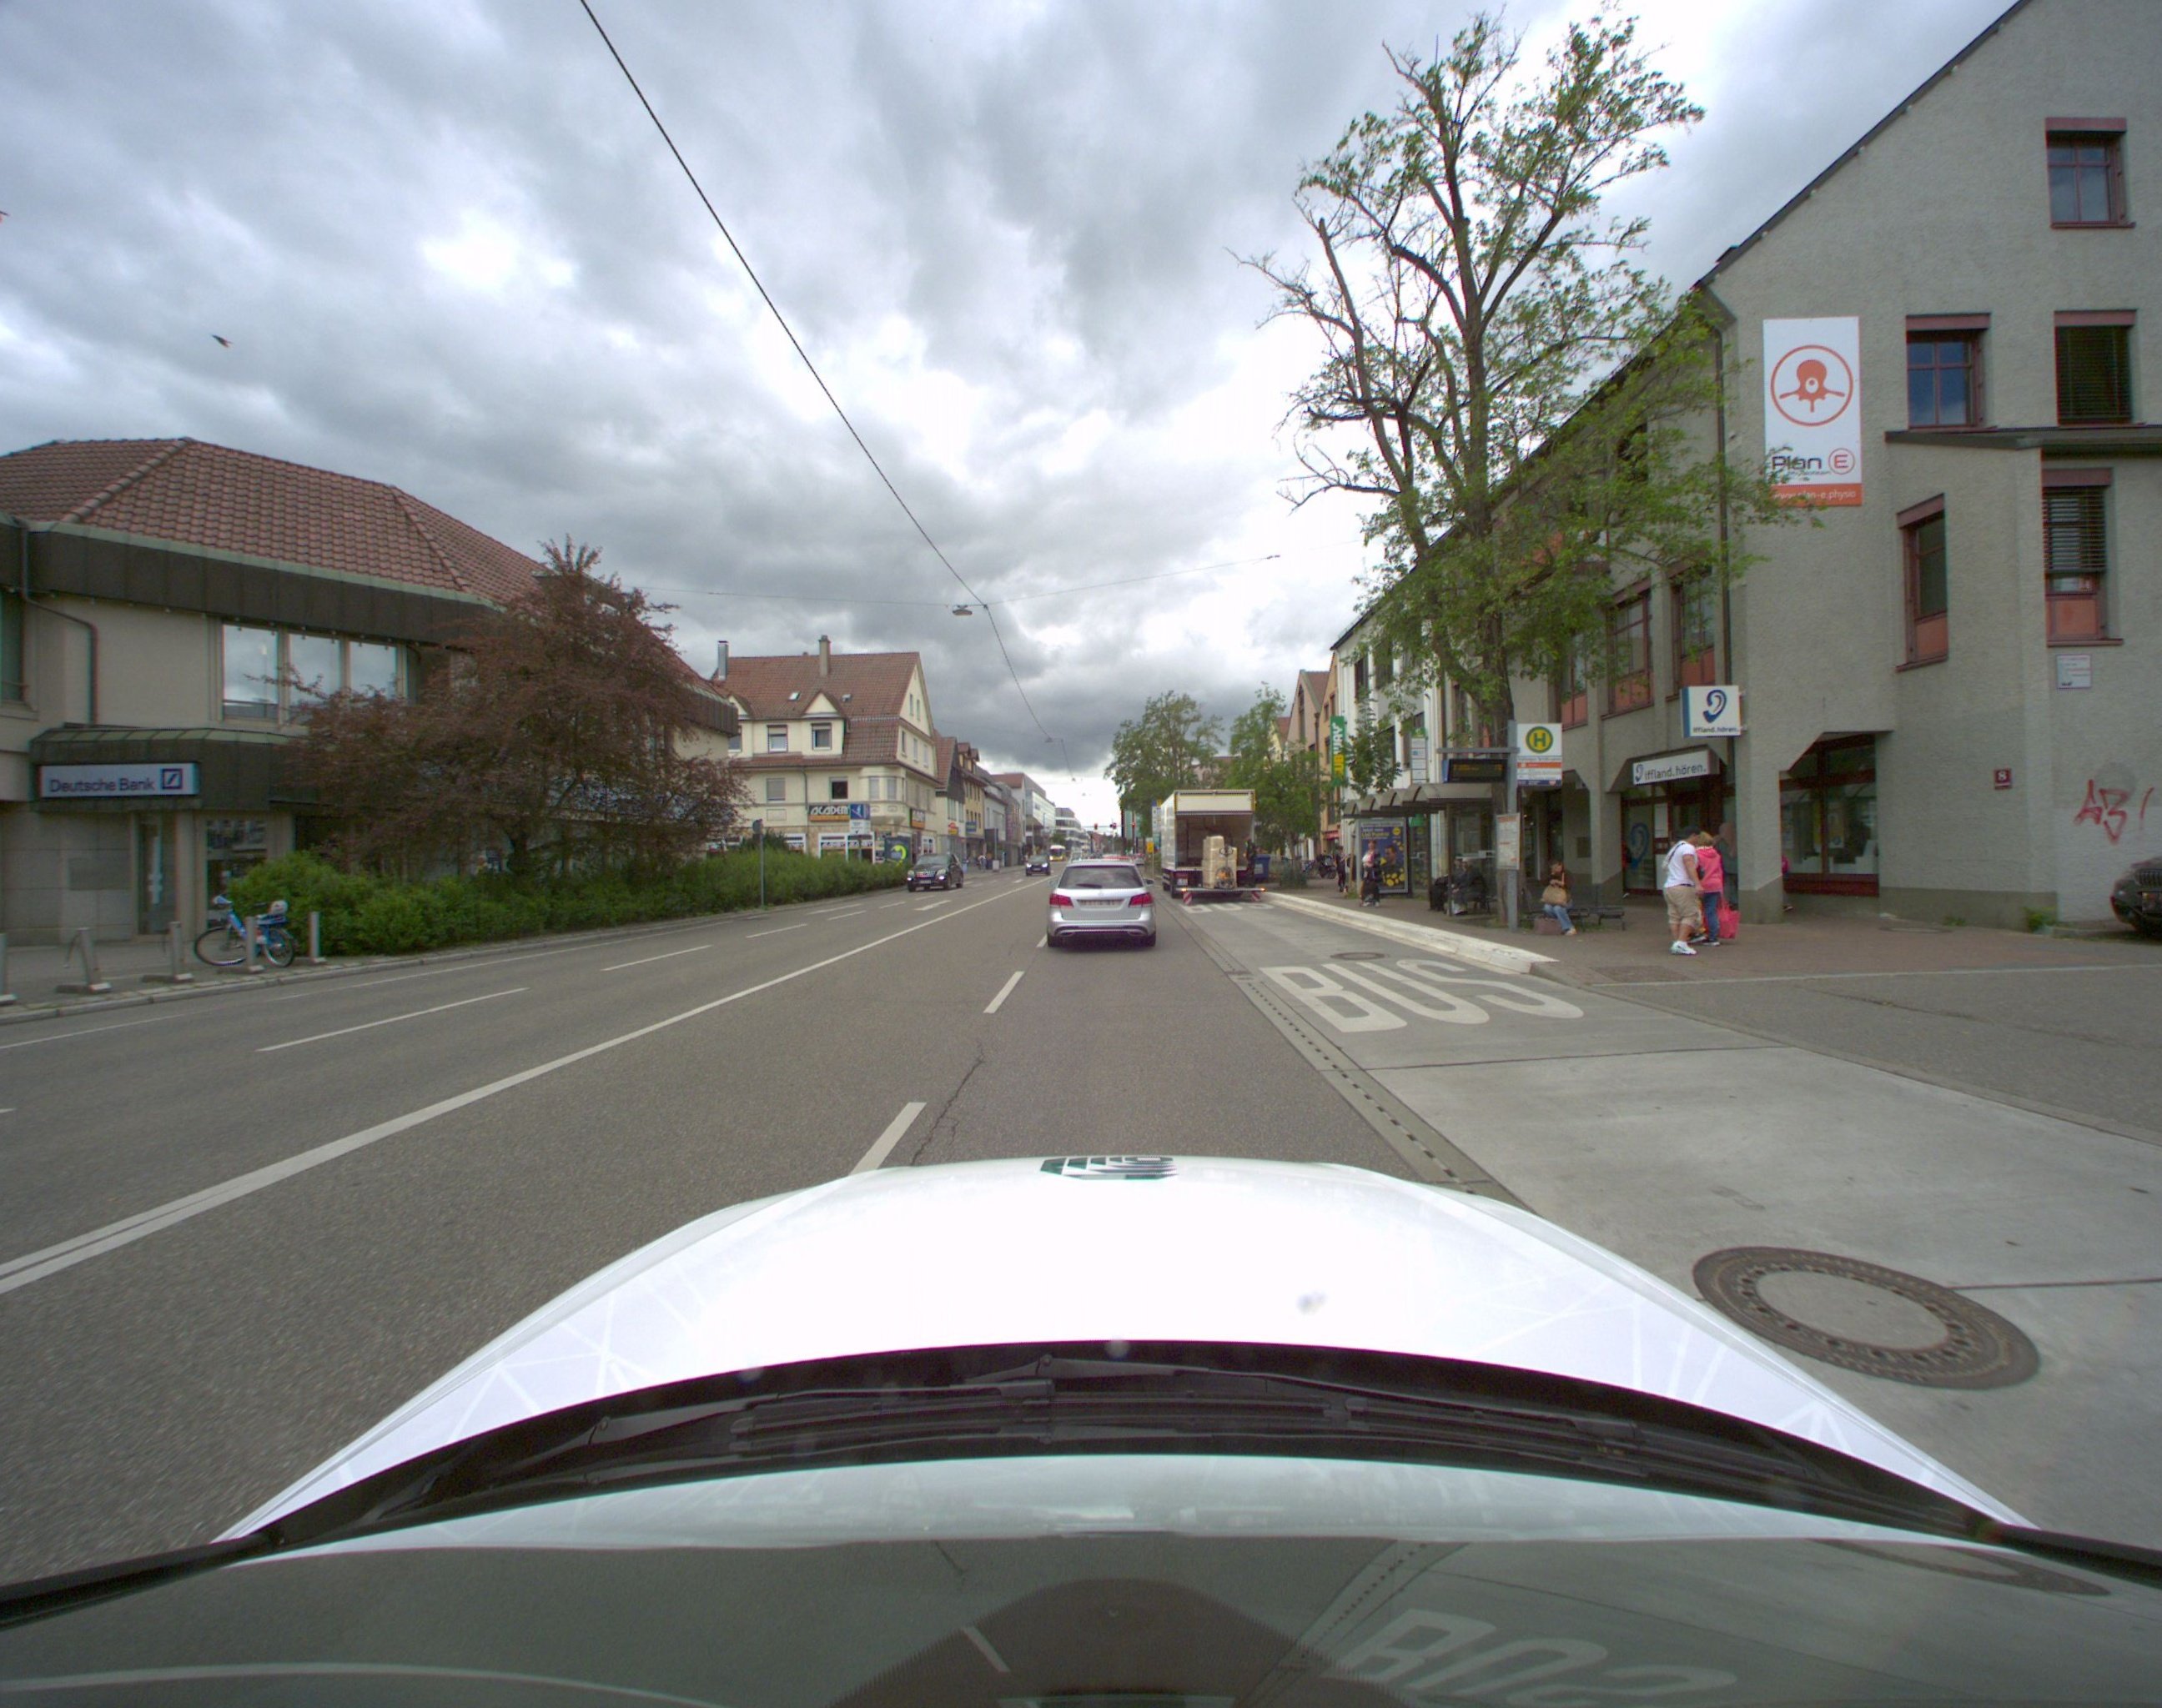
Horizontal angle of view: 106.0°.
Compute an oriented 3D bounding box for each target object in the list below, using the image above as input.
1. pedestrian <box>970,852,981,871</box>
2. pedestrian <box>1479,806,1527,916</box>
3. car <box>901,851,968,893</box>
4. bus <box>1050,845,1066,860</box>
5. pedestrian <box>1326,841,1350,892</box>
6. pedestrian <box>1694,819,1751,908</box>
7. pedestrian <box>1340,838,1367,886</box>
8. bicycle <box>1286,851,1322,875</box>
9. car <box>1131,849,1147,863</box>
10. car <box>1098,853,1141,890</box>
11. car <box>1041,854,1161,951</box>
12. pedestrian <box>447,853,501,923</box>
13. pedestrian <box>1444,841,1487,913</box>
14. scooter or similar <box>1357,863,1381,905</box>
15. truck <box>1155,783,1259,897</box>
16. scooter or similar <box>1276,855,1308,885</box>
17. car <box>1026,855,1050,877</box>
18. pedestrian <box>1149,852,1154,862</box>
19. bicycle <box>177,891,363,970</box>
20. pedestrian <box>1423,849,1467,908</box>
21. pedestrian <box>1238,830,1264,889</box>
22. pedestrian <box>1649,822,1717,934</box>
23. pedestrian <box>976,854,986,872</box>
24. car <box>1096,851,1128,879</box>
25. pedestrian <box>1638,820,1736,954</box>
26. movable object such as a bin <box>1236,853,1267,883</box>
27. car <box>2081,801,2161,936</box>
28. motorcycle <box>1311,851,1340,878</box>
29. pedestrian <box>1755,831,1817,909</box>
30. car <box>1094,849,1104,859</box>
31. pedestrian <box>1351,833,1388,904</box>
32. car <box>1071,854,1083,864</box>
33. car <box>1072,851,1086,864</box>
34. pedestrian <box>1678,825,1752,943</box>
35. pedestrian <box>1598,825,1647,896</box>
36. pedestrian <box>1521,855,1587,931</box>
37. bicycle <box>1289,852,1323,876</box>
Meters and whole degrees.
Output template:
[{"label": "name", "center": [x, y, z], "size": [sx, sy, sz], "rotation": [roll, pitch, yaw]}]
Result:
[{"label": "pedestrian", "center": [-9.922, 0.685, 76.752], "size": [0.865, 1.746, 0.805], "rotation": [2, 0, -3]}, {"label": "pedestrian", "center": [8.100, 0.137, 15.656], "size": [0.608, 2.047, 0.590], "rotation": [-3, -1, 15]}, {"label": "car", "center": [-6.856, 0.791, 38.620], "size": [2.061, 1.738, 4.696], "rotation": [-3, 0, 3]}, {"label": "bus", "center": [-4.861, -0.345, 171.773], "size": [2.764, 3.165, 5.937], "rotation": [-1, 0, 3]}, {"label": "pedestrian", "center": [8.951, 0.416, 28.364], "size": [0.611, 1.740, 0.587], "rotation": [2, 0, -2]}, {"label": "pedestrian", "center": [11.970, 0.171, 15.209], "size": [0.583, 1.634, 0.615], "rotation": [-1, 0, 3]}, {"label": "pedestrian", "center": [9.182, 0.268, 27.475], "size": [0.618, 1.611, 0.581], "rotation": [0, -2, -43]}, {"label": "bicycle", "center": [12.678, 0.522, 46.343], "size": [1.811, 1.326, 0.843], "rotation": [-1, 0, -2]}, {"label": "car", "center": [7.320, 0.273, 102.903], "size": [1.985, 1.684, 4.003], "rotation": [-1, 0, 2]}, {"label": "car", "center": [1.686, 0.739, 35.964], "size": [1.747, 1.521, 4.002], "rotation": [-1, -1, 2]}, {"label": "car", "center": [0.336, 0.766, 14.770], "size": [1.868, 1.506, 4.000], "rotation": [-1, 0, 0]}, {"label": "pedestrian", "center": [-15.821, 0.865, 21.243], "size": [0.722, 1.764, 0.757], "rotation": [3, 0, 6]}, {"label": "pedestrian", "center": [7.794, 0.464, 16.528], "size": [0.608, 1.401, 0.590], "rotation": [-3, -1, 15]}, {"label": "scooter or similar", "center": [6.642, 0.684, 18.781], "size": [0.387, 0.959, 0.351], "rotation": [-1, 0, -39]}, {"label": "truck", "center": [4.401, -0.452, 30.498], "size": [2.678, 3.561, 9.771], "rotation": [-1, 0, 2]}, {"label": "scooter or similar", "center": [8.686, 0.652, 33.478], "size": [1.174, 1.196, 0.459], "rotation": [-1, 0, -7]}, {"label": "car", "center": [-3.124, 0.894, 59.749], "size": [1.565, 1.540, 2.960], "rotation": [-1, 0, 0]}, {"label": "pedestrian", "center": [11.426, 0.450, 132.619], "size": [0.612, 1.634, 0.586], "rotation": [2, 0, -7]}, {"label": "bicycle", "center": [-12.416, 1.154, 12.518], "size": [2.016, 1.090, 0.647], "rotation": [-1, 0, -8]}, {"label": "pedestrian", "center": [7.963, 0.524, 17.830], "size": [0.695, 1.232, 0.590], "rotation": [-3, -1, 11]}, {"label": "pedestrian", "center": [5.161, 0.173, 24.774], "size": [0.611, 1.780, 0.587], "rotation": [-2, -1, -2]}, {"label": "pedestrian", "center": [9.010, 0.346, 12.208], "size": [0.610, 1.634, 0.589], "rotation": [0, 0, 6]}, {"label": "pedestrian", "center": [-8.909, 0.788, 72.614], "size": [0.815, 1.634, 0.979], "rotation": [1, 0, -3]}, {"label": "car", "center": [2.027, 0.692, 52.864], "size": [1.985, 1.684, 4.003], "rotation": [-1, 0, 2]}, {"label": "pedestrian", "center": [7.726, 0.397, 10.403], "size": [0.613, 1.634, 0.791], "rotation": [-1, 1, -11]}, {"label": "movable object such as a bin", "center": [7.674, 0.618, 36.692], "size": [1.138, 1.339, 1.377], "rotation": [-1, 0, 4]}, {"label": "car", "center": [15.146, 0.150, 9.394], "size": [4.582, 1.619, 1.883], "rotation": [-1, 0, 5]}, {"label": "motorcycle", "center": [11.956, 0.504, 39.881], "size": [0.735, 1.270, 2.106], "rotation": [-2, 0, -2]}, {"label": "pedestrian", "center": [12.646, 0.279, 14.613], "size": [0.583, 1.375, 0.616], "rotation": [-1, 0, 4]}, {"label": "car", "center": [3.587, -0.021, 164.716], "size": [1.986, 2.013, 4.002], "rotation": [-1, 0, 2]}, {"label": "pedestrian", "center": [6.786, 0.333, 19.153], "size": [0.537, 1.634, 0.583], "rotation": [2, 0, -22]}, {"label": "car", "center": [-0.559, 0.788, 123.409], "size": [1.610, 1.428, 3.926], "rotation": [-2, 0, 3]}, {"label": "car", "center": [-0.280, 0.571, 133.462], "size": [1.954, 1.960, 5.143], "rotation": [-3, 0, 2]}, {"label": "pedestrian", "center": [8.639, 0.387, 11.122], "size": [0.666, 1.567, 0.494], "rotation": [0, 1, 22]}, {"label": "pedestrian", "center": [12.614, 0.145, 18.977], "size": [0.724, 1.634, 0.613], "rotation": [-1, 0, -7]}, {"label": "pedestrian", "center": [7.531, 0.608, 12.976], "size": [0.710, 1.166, 0.587], "rotation": [0, 1, -5]}, {"label": "bicycle", "center": [12.554, 0.560, 45.450], "size": [1.670, 1.259, 0.669], "rotation": [-1, 0, -2]}]
